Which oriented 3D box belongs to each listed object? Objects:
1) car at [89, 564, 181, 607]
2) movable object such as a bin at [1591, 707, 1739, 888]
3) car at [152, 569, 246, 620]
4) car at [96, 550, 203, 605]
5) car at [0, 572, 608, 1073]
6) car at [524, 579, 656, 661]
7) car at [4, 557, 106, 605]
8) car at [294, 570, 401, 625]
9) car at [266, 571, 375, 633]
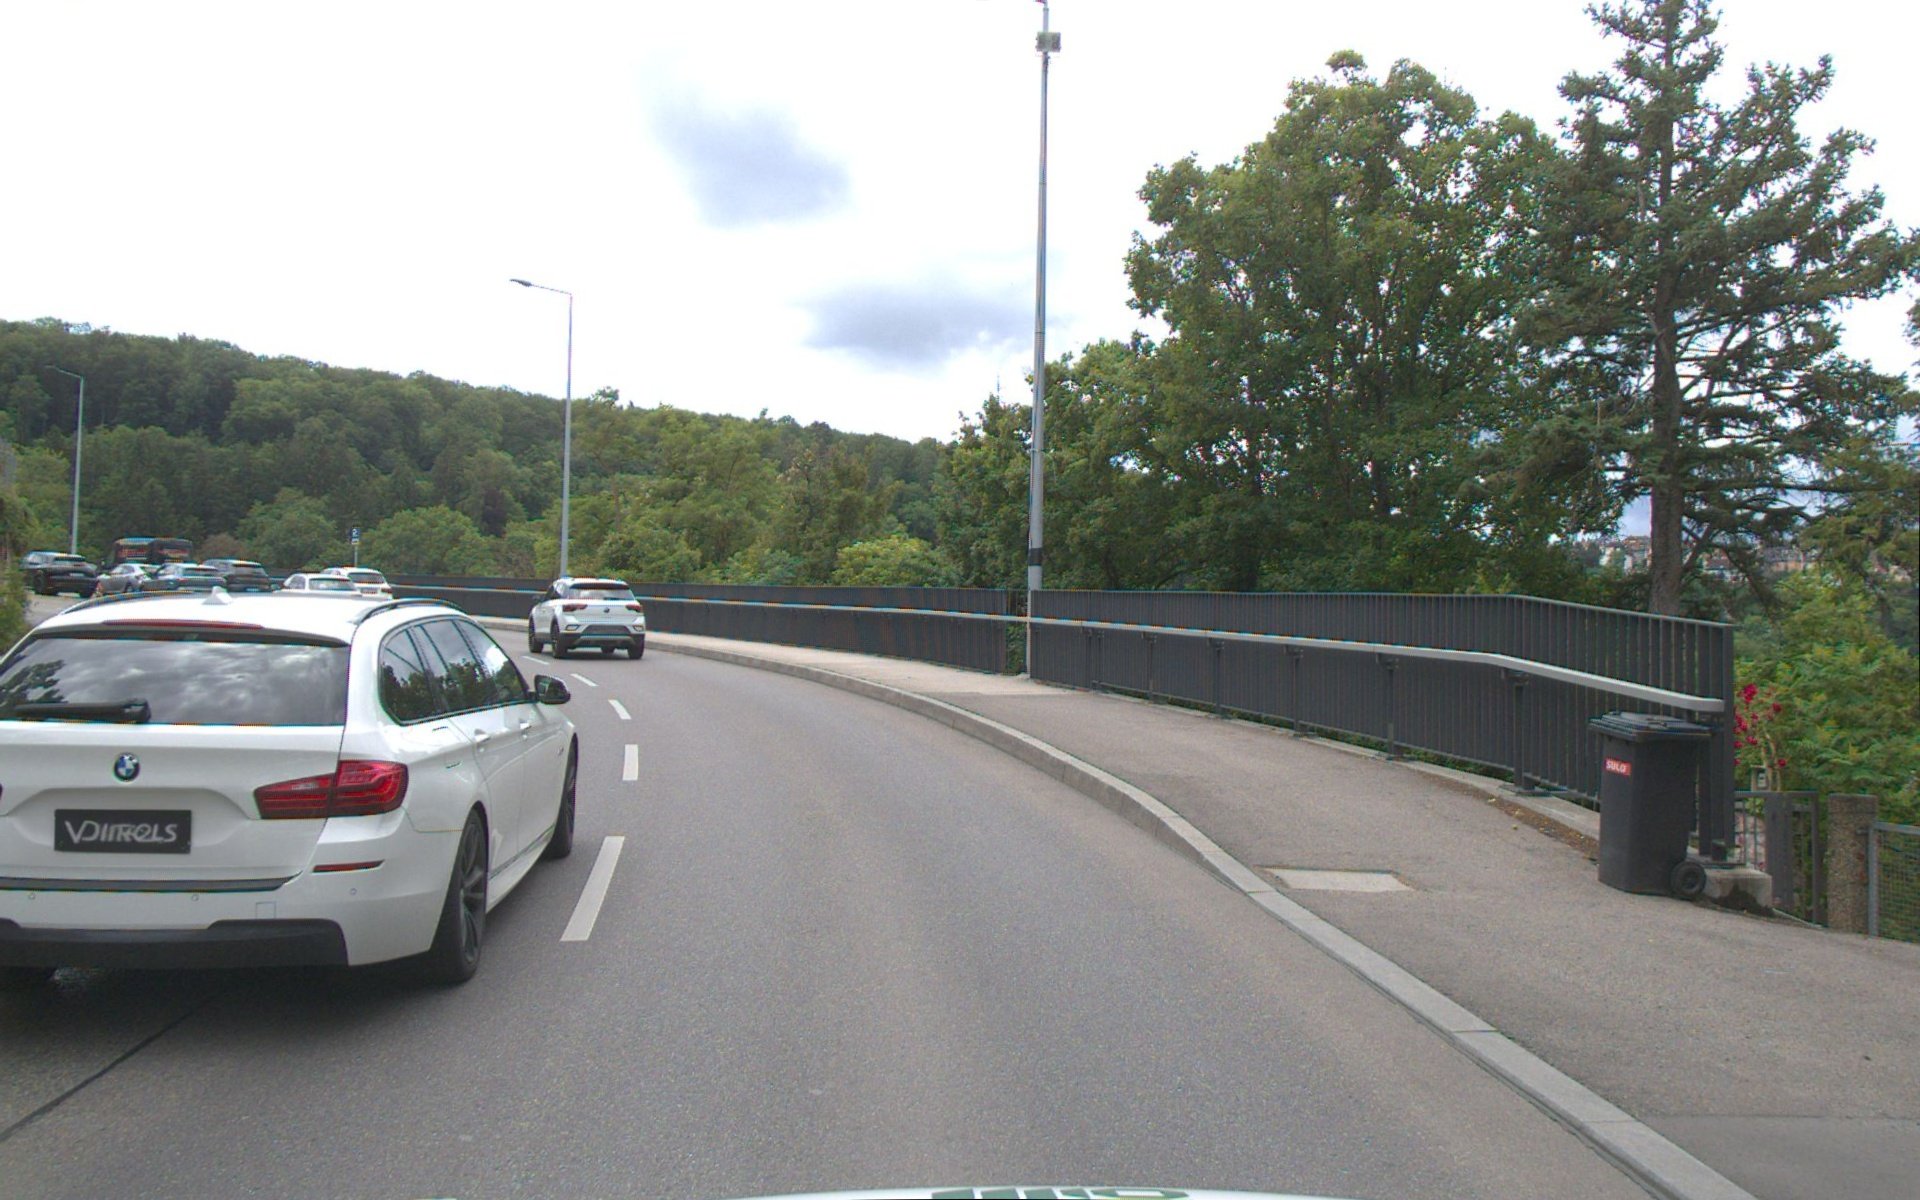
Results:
[{"bbox_3d":[-32.933,-0.577,66.010,3.460,1.552,1.696,2,0,31],"label":"car"},{"bbox_3d":[3.784,1.049,8.902,0.510,0.896,0.531,2,0,-7],"label":"movable object such as a bin"},{"bbox_3d":[-26.128,-0.205,56.723,1.981,1.567,3.953,2,0,-40],"label":"car"},{"bbox_3d":[-35.473,-0.998,72.366,4.634,2.231,2.076,2,0,33],"label":"car"},{"bbox_3d":[-2.830,0.661,7.486,1.812,1.492,4.873,2,1,-5],"label":"car"},{"bbox_3d":[-7.588,0.383,33.669,1.844,1.563,3.773,1,0,-25],"label":"car"},{"bbox_3d":[-35.354,-0.738,64.590,3.917,1.719,1.816,2,0,33],"label":"car"},{"bbox_3d":[-19.671,-0.101,53.029,1.981,1.614,3.942,2,0,-40],"label":"car"},{"bbox_3d":[-18.116,0.036,46.755,1.892,1.601,3.949,2,0,-36],"label":"car"}]
